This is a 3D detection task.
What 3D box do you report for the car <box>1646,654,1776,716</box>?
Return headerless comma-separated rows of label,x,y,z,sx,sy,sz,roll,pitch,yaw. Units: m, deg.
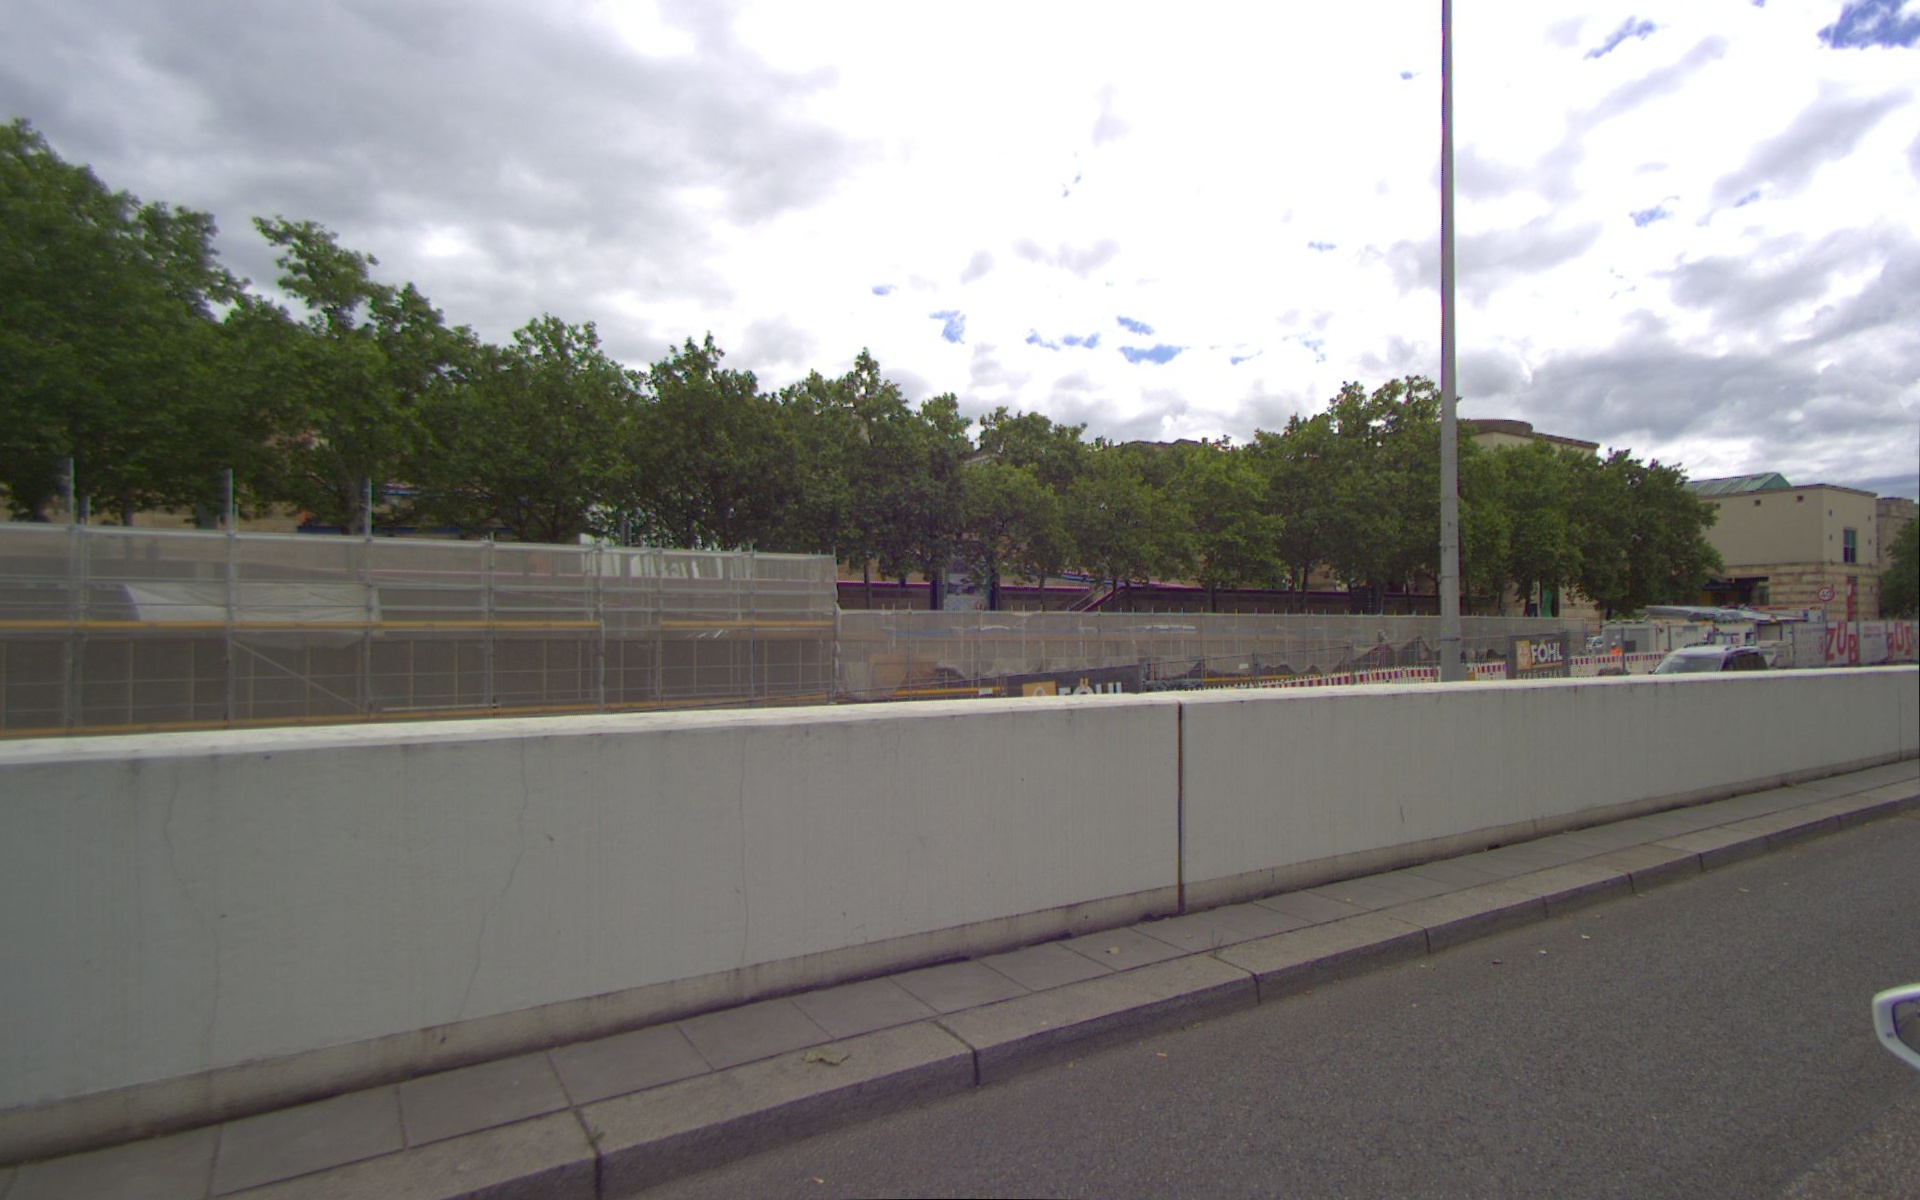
car,20.741,2.319,27.738,3.339,1.588,1.742,1,-4,-32
